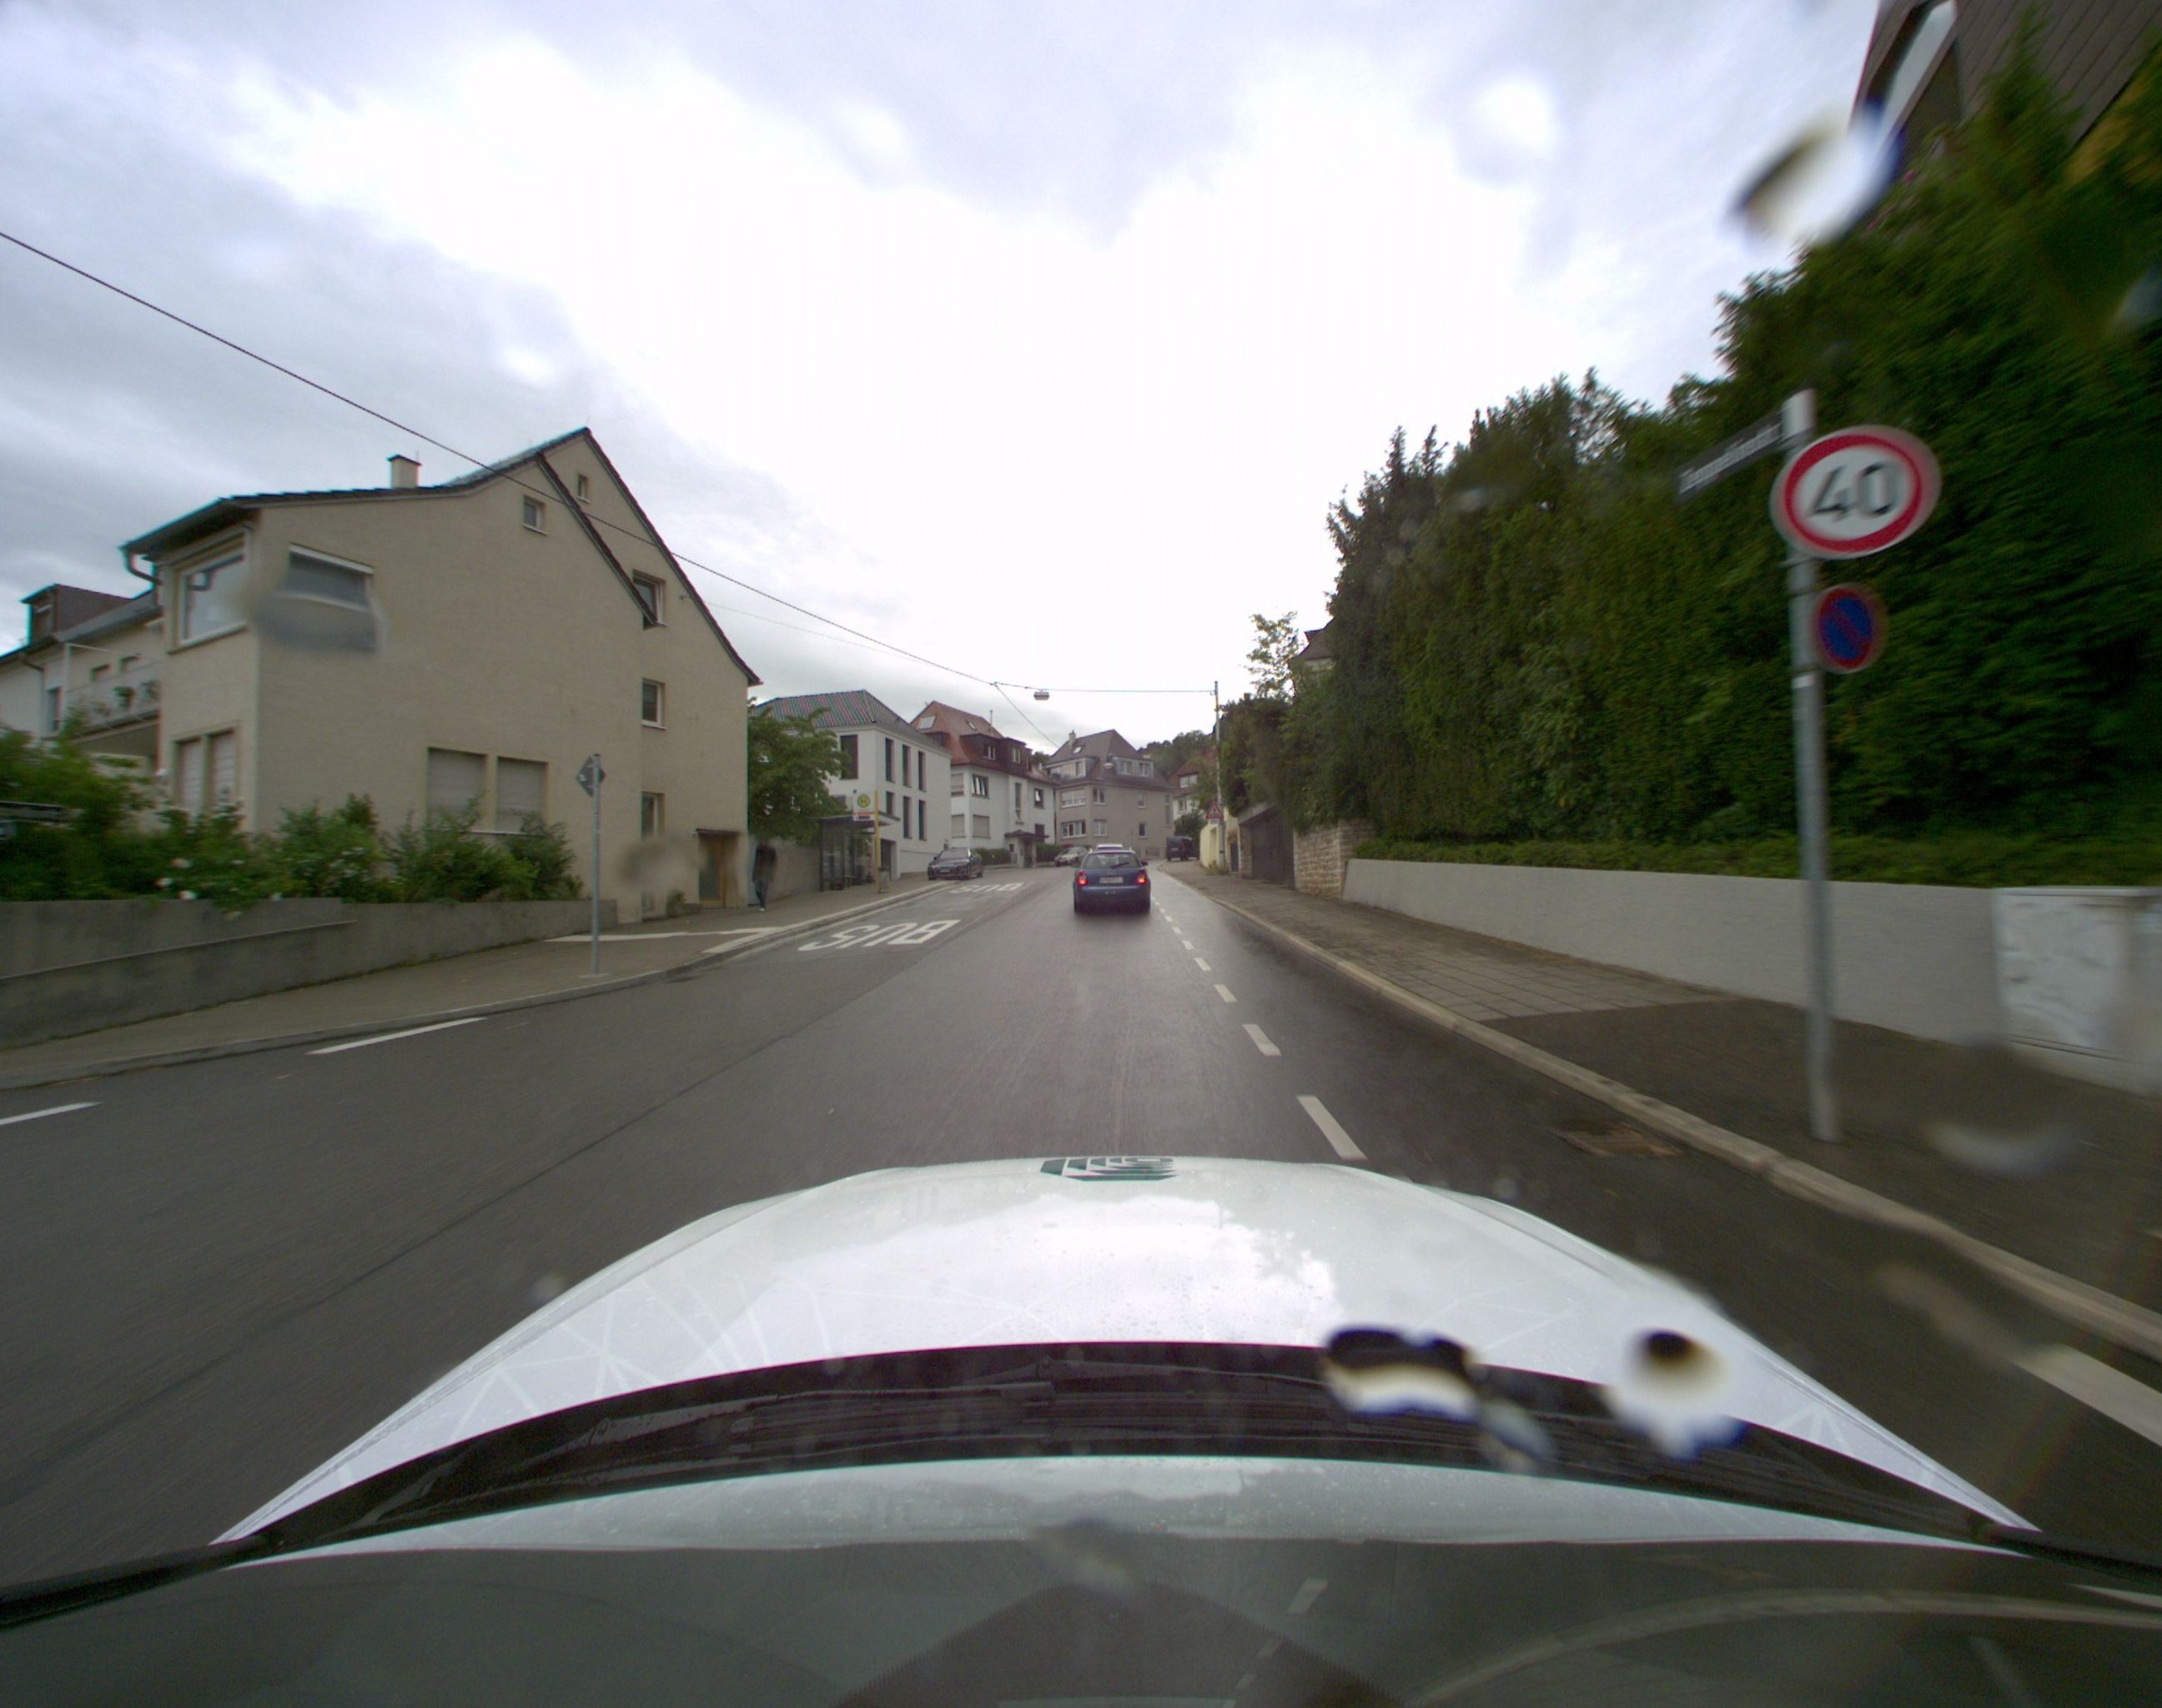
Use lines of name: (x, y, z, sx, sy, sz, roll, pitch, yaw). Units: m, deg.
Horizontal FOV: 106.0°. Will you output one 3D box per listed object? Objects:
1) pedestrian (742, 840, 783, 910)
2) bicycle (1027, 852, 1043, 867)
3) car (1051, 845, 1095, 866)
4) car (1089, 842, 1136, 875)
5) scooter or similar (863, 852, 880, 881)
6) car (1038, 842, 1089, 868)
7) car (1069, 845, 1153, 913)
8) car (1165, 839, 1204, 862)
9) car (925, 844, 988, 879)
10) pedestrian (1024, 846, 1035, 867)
pedestrian: (-8.634, 0.556, 22.080, 0.783, 1.857, 0.728, -1, 0, 2)
bicycle: (-3.535, 0.417, 62.379, 0.452, 1.067, 1.931, -2, 0, 20)
car: (-0.605, 0.102, 64.211, 1.819, 1.425, 4.254, -4, 0, 24)
car: (1.335, 0.200, 35.989, 1.807, 1.361, 3.996, 0, -1, -2)
scooter or similar: (-8.819, 0.519, 34.270, 0.336, 1.220, 1.123, -1, 0, 3)
car: (-1.554, 0.087, 73.265, 3.948, 1.823, 2.013, -7, -2, 30)
car: (0.734, 0.509, 19.487, 1.804, 1.439, 4.084, 0, 1, 2)
car: (8.087, -0.306, 63.330, 1.911, 1.706, 4.022, -1, 0, 23)
car: (-5.886, 0.343, 39.066, 1.820, 1.485, 4.998, -2, 0, 5)
pedestrian: (-3.952, 0.153, 62.653, 0.488, 1.577, 0.952, -2, 0, 20)
